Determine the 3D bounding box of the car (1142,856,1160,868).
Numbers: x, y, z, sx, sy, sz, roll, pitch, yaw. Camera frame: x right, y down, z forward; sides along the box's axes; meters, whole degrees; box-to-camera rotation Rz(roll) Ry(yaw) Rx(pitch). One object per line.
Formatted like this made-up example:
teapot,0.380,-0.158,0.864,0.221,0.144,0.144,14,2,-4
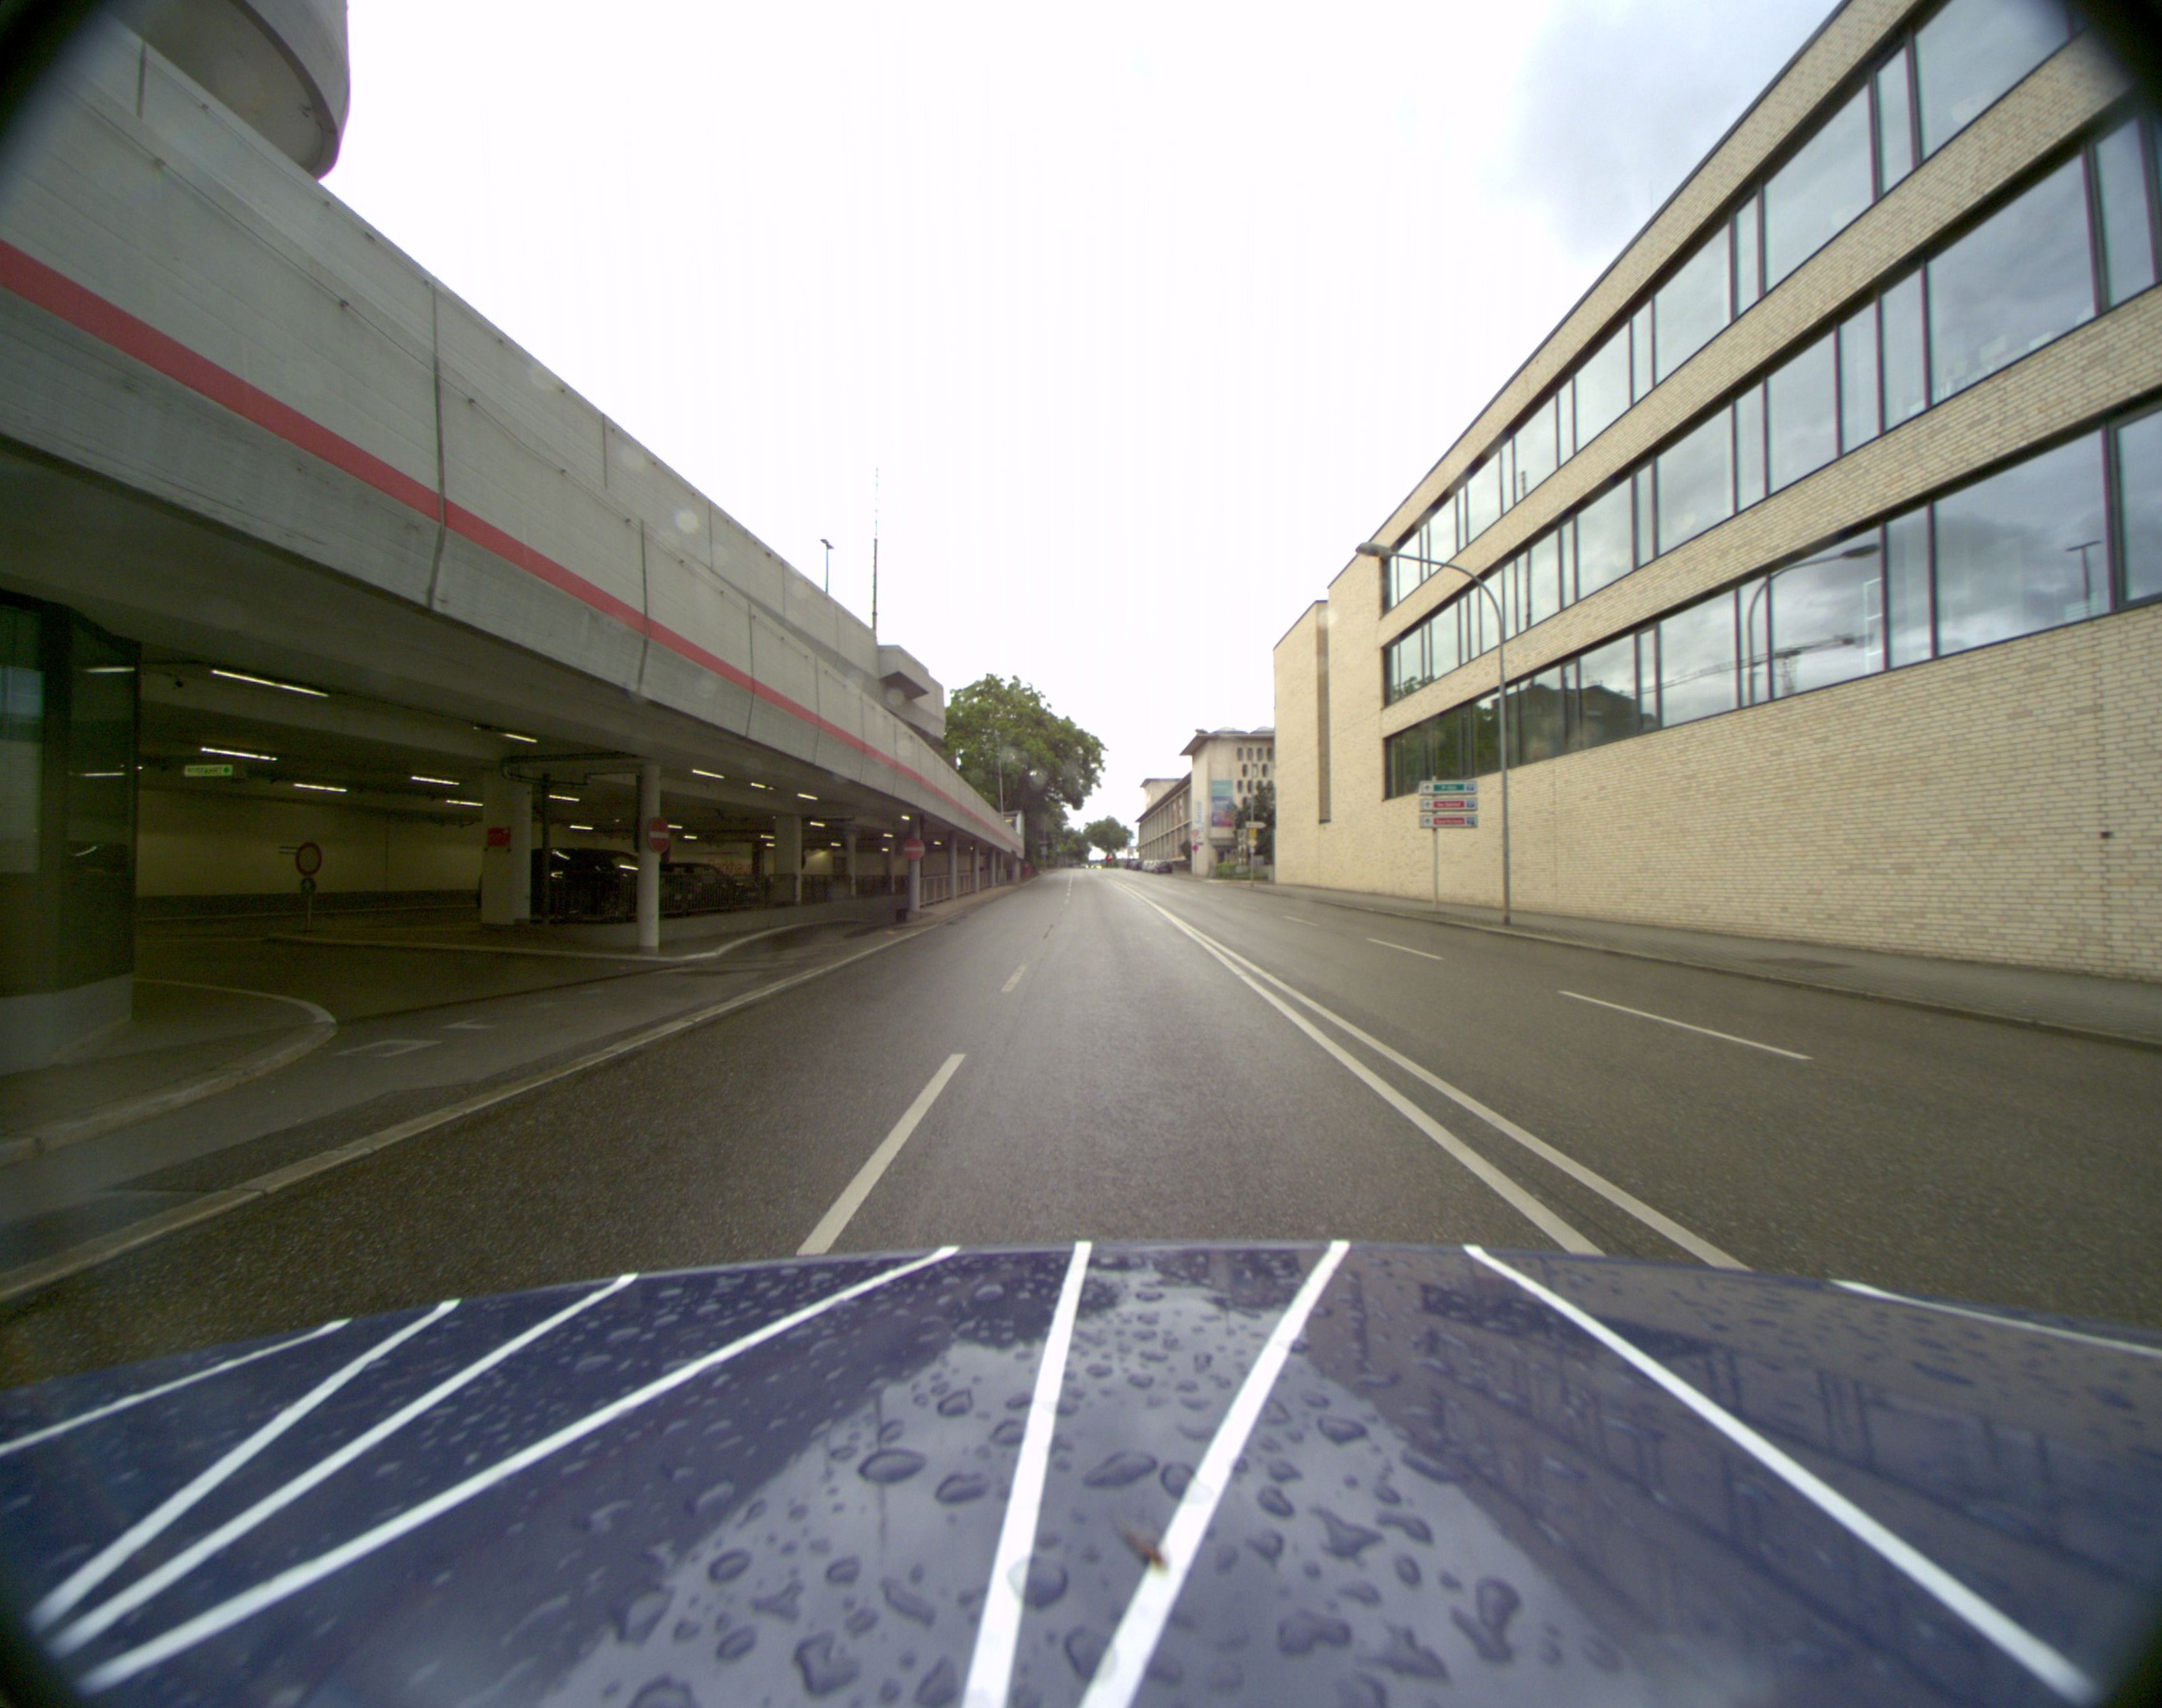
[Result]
car,10.162,1.160,110.944,1.999,1.521,3.999,-8,1,-1

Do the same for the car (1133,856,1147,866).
car,10.179,1.216,131.828,1.999,1.528,3.999,-2,1,0

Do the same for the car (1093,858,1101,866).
car,4.467,2.107,210.442,1.805,2.002,3.997,-2,1,-6

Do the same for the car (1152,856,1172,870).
car,10.025,1.080,94.061,1.998,1.632,3.999,-2,1,0

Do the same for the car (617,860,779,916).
car,-10.872,0.957,21.706,3.730,1.496,1.808,0,-1,6

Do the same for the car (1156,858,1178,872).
car,10.042,1.288,88.794,1.999,1.520,3.999,-2,1,-1

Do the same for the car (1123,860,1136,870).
car,8.477,1.959,132.392,1.998,1.569,3.999,-2,1,0

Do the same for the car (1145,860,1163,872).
car,10.064,1.642,104.569,1.998,1.482,4.185,-2,1,0

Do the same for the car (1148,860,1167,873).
car,10.027,1.663,99.767,1.998,1.503,4.000,-2,1,1

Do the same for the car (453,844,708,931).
car,-11.009,0.704,16.886,4.584,1.630,1.823,2,-1,7

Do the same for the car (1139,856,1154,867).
car,10.326,1.151,119.378,1.999,1.701,3.999,0,1,-1
